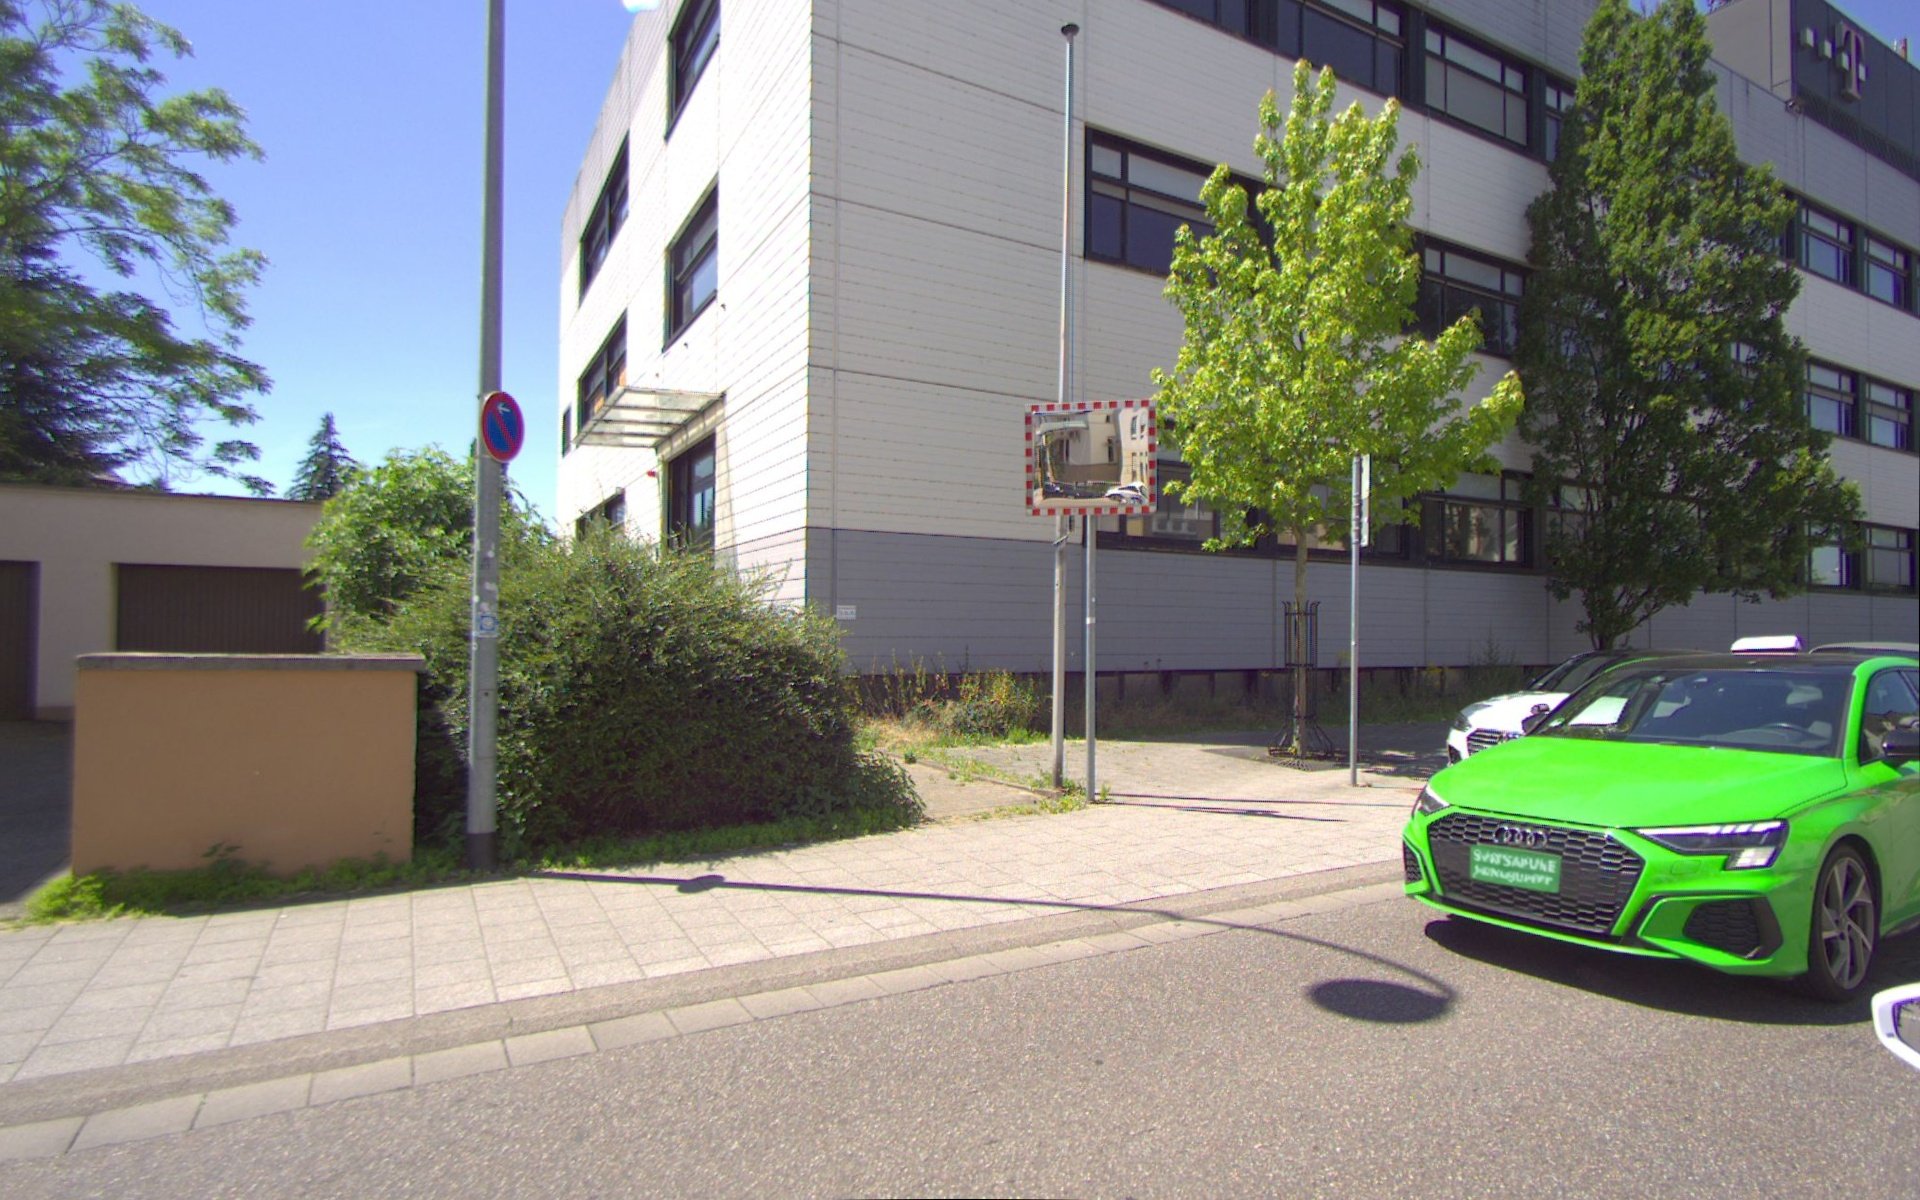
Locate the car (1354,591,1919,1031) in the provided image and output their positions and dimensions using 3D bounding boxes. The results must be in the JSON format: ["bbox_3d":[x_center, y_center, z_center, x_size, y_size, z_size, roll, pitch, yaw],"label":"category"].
[{"bbox_3d":[4.280,0.878,5.544,4.053,1.609,1.814,2,-4,-31],"label":"car"}]

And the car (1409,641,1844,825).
[{"bbox_3d":[6.767,1.172,10.086,4.523,1.430,1.814,2,-1,-30],"label":"car"}]

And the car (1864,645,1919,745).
[{"bbox_3d":[15.788,1.450,15.357,3.885,1.428,1.740,2,0,-29],"label":"car"}]

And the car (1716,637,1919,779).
[{"bbox_3d":[11.774,1.274,12.899,4.238,1.532,1.814,2,-2,-30],"label":"car"}]
